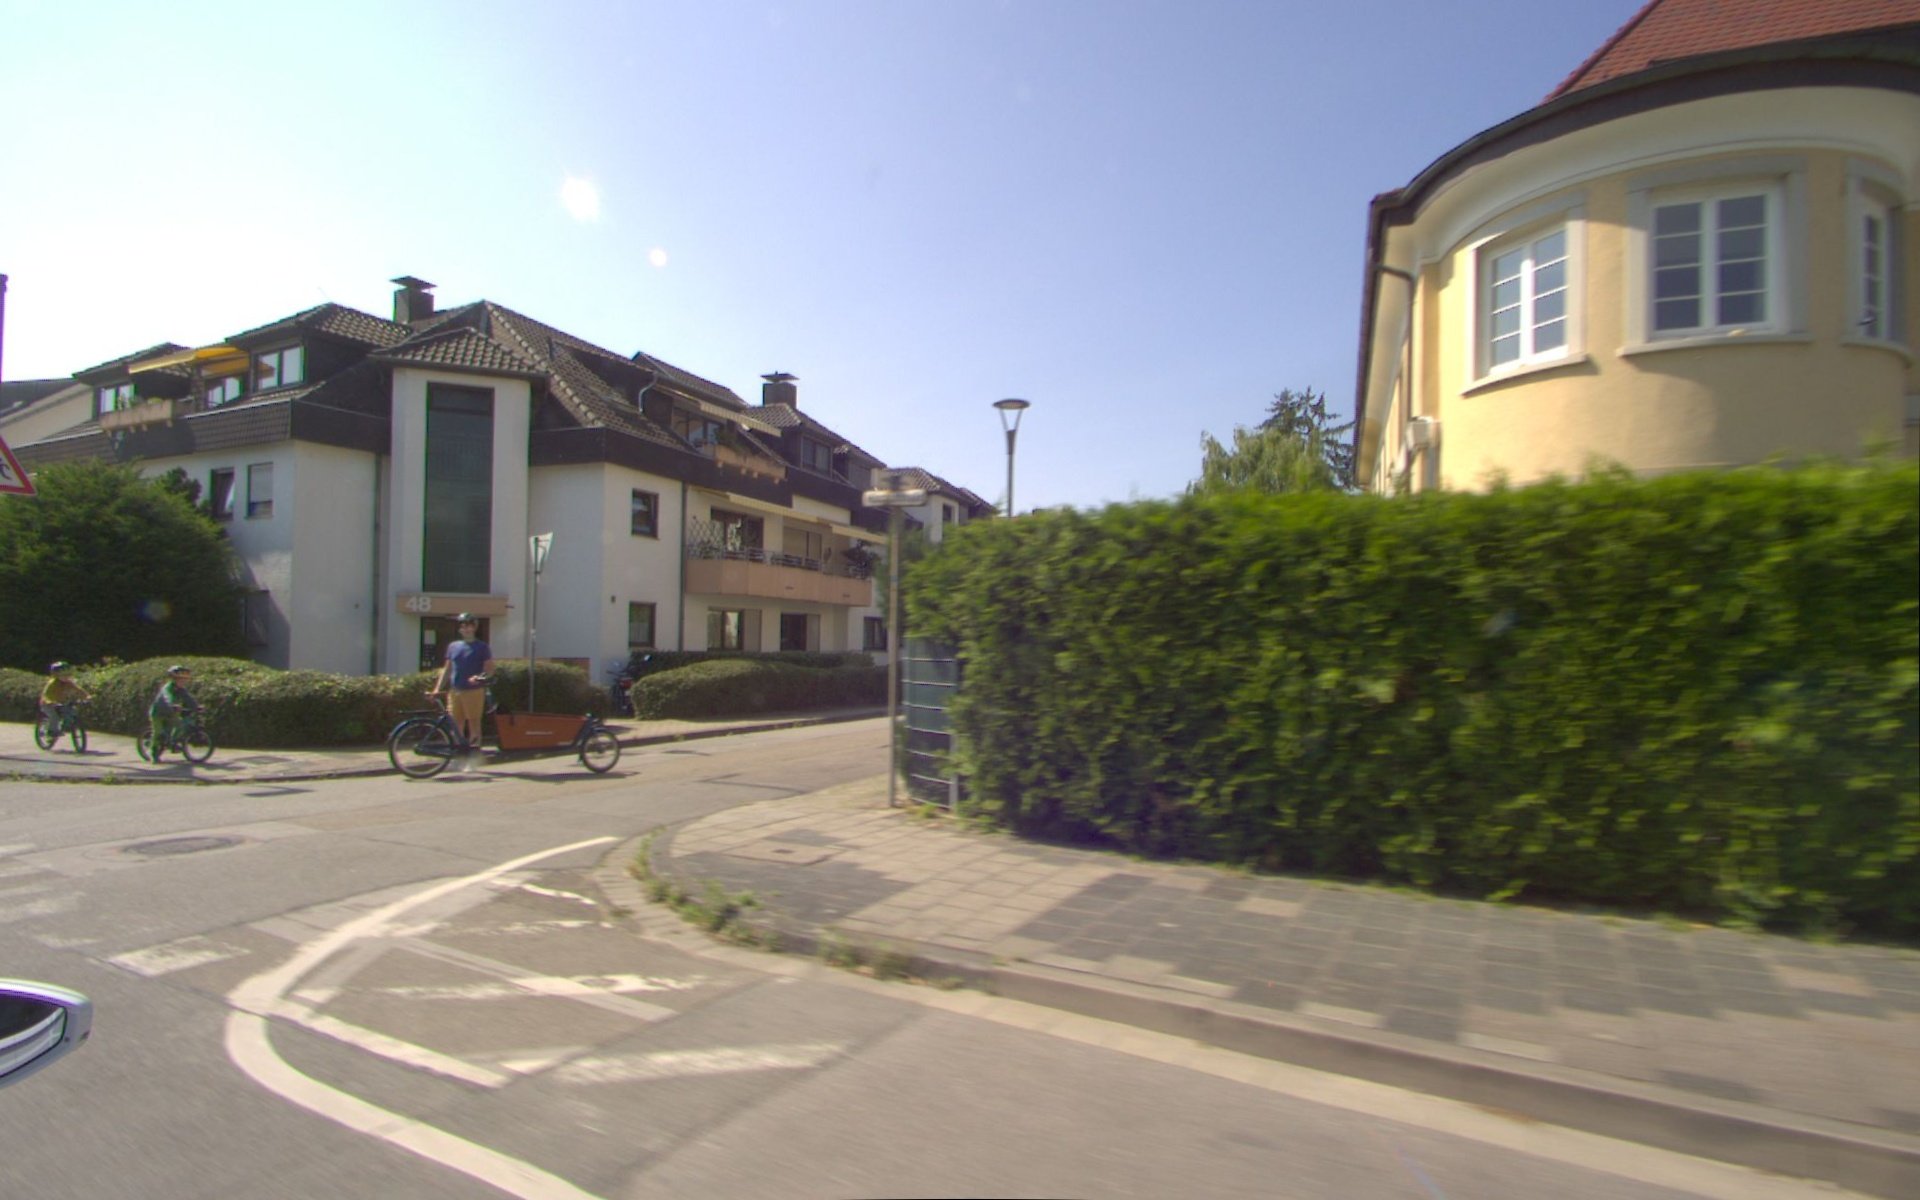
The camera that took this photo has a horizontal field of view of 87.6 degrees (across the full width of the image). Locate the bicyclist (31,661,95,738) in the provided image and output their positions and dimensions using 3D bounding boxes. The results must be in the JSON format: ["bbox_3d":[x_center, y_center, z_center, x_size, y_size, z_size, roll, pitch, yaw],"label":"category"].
[{"bbox_3d":[-11.453,1.255,12.783,0.599,0.945,0.398,0,-2,27],"label":"bicyclist"}]

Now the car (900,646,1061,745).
[{"bbox_3d":[0.504,1.691,18.640,1.780,1.588,3.994,0,-3,20],"label":"car"}]

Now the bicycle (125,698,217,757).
[{"bbox_3d":[-9.403,1.501,11.929,1.155,0.607,0.401,0,-2,27],"label":"bicycle"}]

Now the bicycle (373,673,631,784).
[{"bbox_3d":[-5.372,1.463,11.861,2.672,1.173,0.860,2,-2,-29],"label":"bicycle"}]

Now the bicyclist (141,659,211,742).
[{"bbox_3d":[-9.315,1.177,11.902,0.647,0.941,0.401,0,-2,27],"label":"bicyclist"}]

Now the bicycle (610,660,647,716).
[{"bbox_3d":[-7.410,1.954,22.426,0.621,1.110,1.683,1,0,-14],"label":"bicycle"}]

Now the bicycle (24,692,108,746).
[{"bbox_3d":[-11.391,1.505,12.754,1.133,0.607,0.401,0,-2,27],"label":"bicycle"}]

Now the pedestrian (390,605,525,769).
[{"bbox_3d":[-6.063,1.034,12.150,1.166,1.896,0.902,1,-2,-4],"label":"pedestrian"}]
